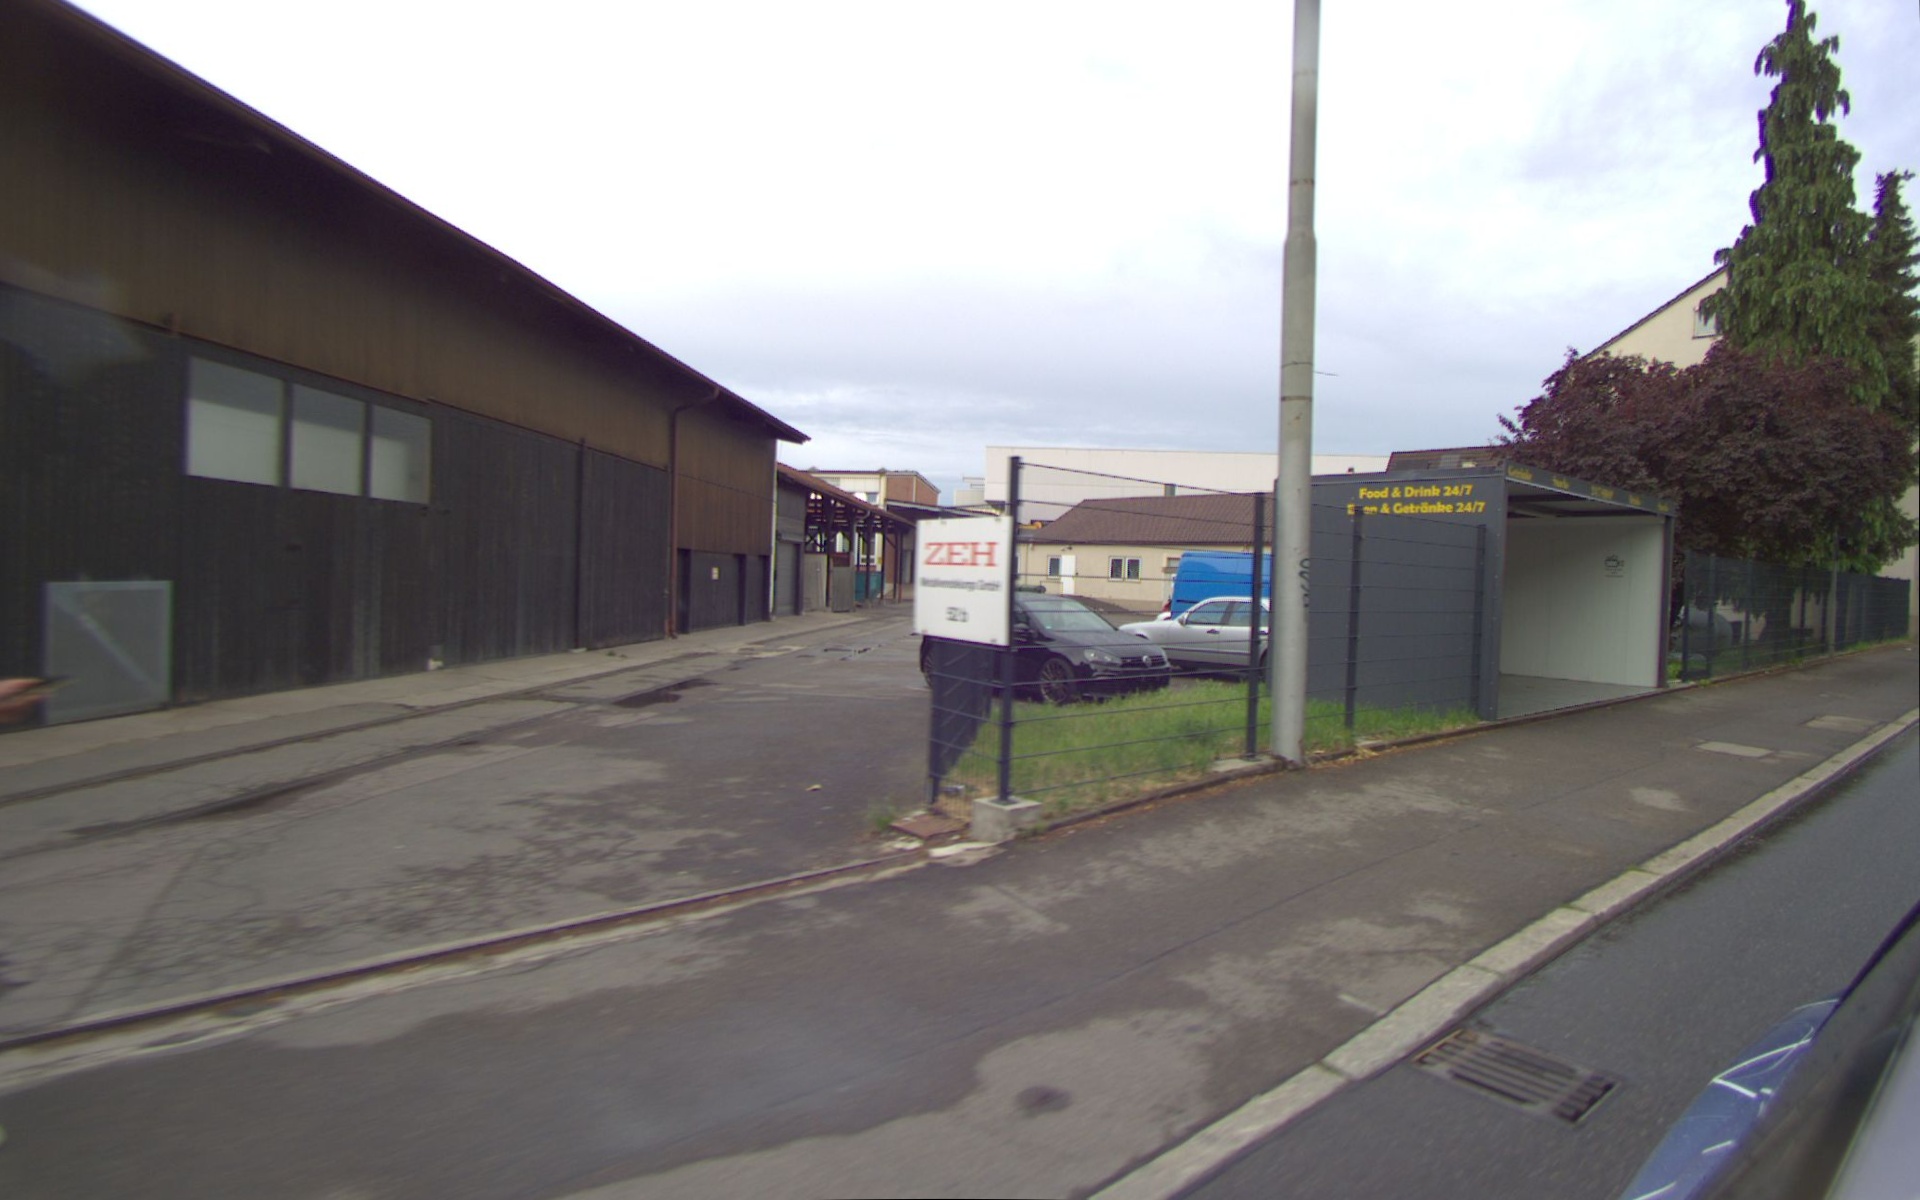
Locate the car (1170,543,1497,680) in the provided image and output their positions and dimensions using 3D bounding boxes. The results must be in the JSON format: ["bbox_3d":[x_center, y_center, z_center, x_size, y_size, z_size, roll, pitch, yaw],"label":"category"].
[{"bbox_3d":[6.900,0.110,19.331,1.966,2.238,5.576,0,1,-42],"label":"car"}]

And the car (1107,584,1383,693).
[{"bbox_3d":[4.824,0.557,17.640,1.763,1.549,4.385,-1,3,-42],"label":"car"}]

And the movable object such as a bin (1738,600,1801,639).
[{"bbox_3d":[25.339,0.617,31.693,1.196,1.196,1.330,1,-3,-41],"label":"movable object such as a bin"}]

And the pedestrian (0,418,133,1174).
[{"bbox_3d":[-2.605,0.450,2.412,0.742,1.725,0.887,0,1,44],"label":"pedestrian"}]

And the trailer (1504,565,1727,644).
[{"bbox_3d":[19.949,0.090,31.045,2.011,2.214,5.429,-2,2,-41],"label":"trailer"}]

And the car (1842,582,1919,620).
[{"bbox_3d":[44.934,0.018,48.184,1.837,1.758,4.236,-2,2,-40],"label":"car"}]

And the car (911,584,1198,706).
[{"bbox_3d":[1.200,0.520,14.320,1.753,1.441,3.995,-2,2,-39],"label":"car"}]

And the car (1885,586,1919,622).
[{"bbox_3d":[48.579,0.177,49.991,1.837,1.758,4.074,-2,2,-40],"label":"car"}]

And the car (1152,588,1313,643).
[{"bbox_3d":[8.066,0.411,30.247,1.770,1.441,4.358,0,1,-45],"label":"car"}]

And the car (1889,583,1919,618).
[{"bbox_3d":[50.237,0.030,51.658,1.760,1.746,3.956,-1,1,-40],"label":"car"}]

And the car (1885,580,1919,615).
[{"bbox_3d":[51.865,-0.141,53.384,1.965,1.790,4.311,-2,2,-40],"label":"car"}]

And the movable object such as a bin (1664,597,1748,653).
[{"bbox_3d":[19.115,0.599,25.896,1.370,1.336,2.814,0,0,44],"label":"movable object such as a bin"}]
